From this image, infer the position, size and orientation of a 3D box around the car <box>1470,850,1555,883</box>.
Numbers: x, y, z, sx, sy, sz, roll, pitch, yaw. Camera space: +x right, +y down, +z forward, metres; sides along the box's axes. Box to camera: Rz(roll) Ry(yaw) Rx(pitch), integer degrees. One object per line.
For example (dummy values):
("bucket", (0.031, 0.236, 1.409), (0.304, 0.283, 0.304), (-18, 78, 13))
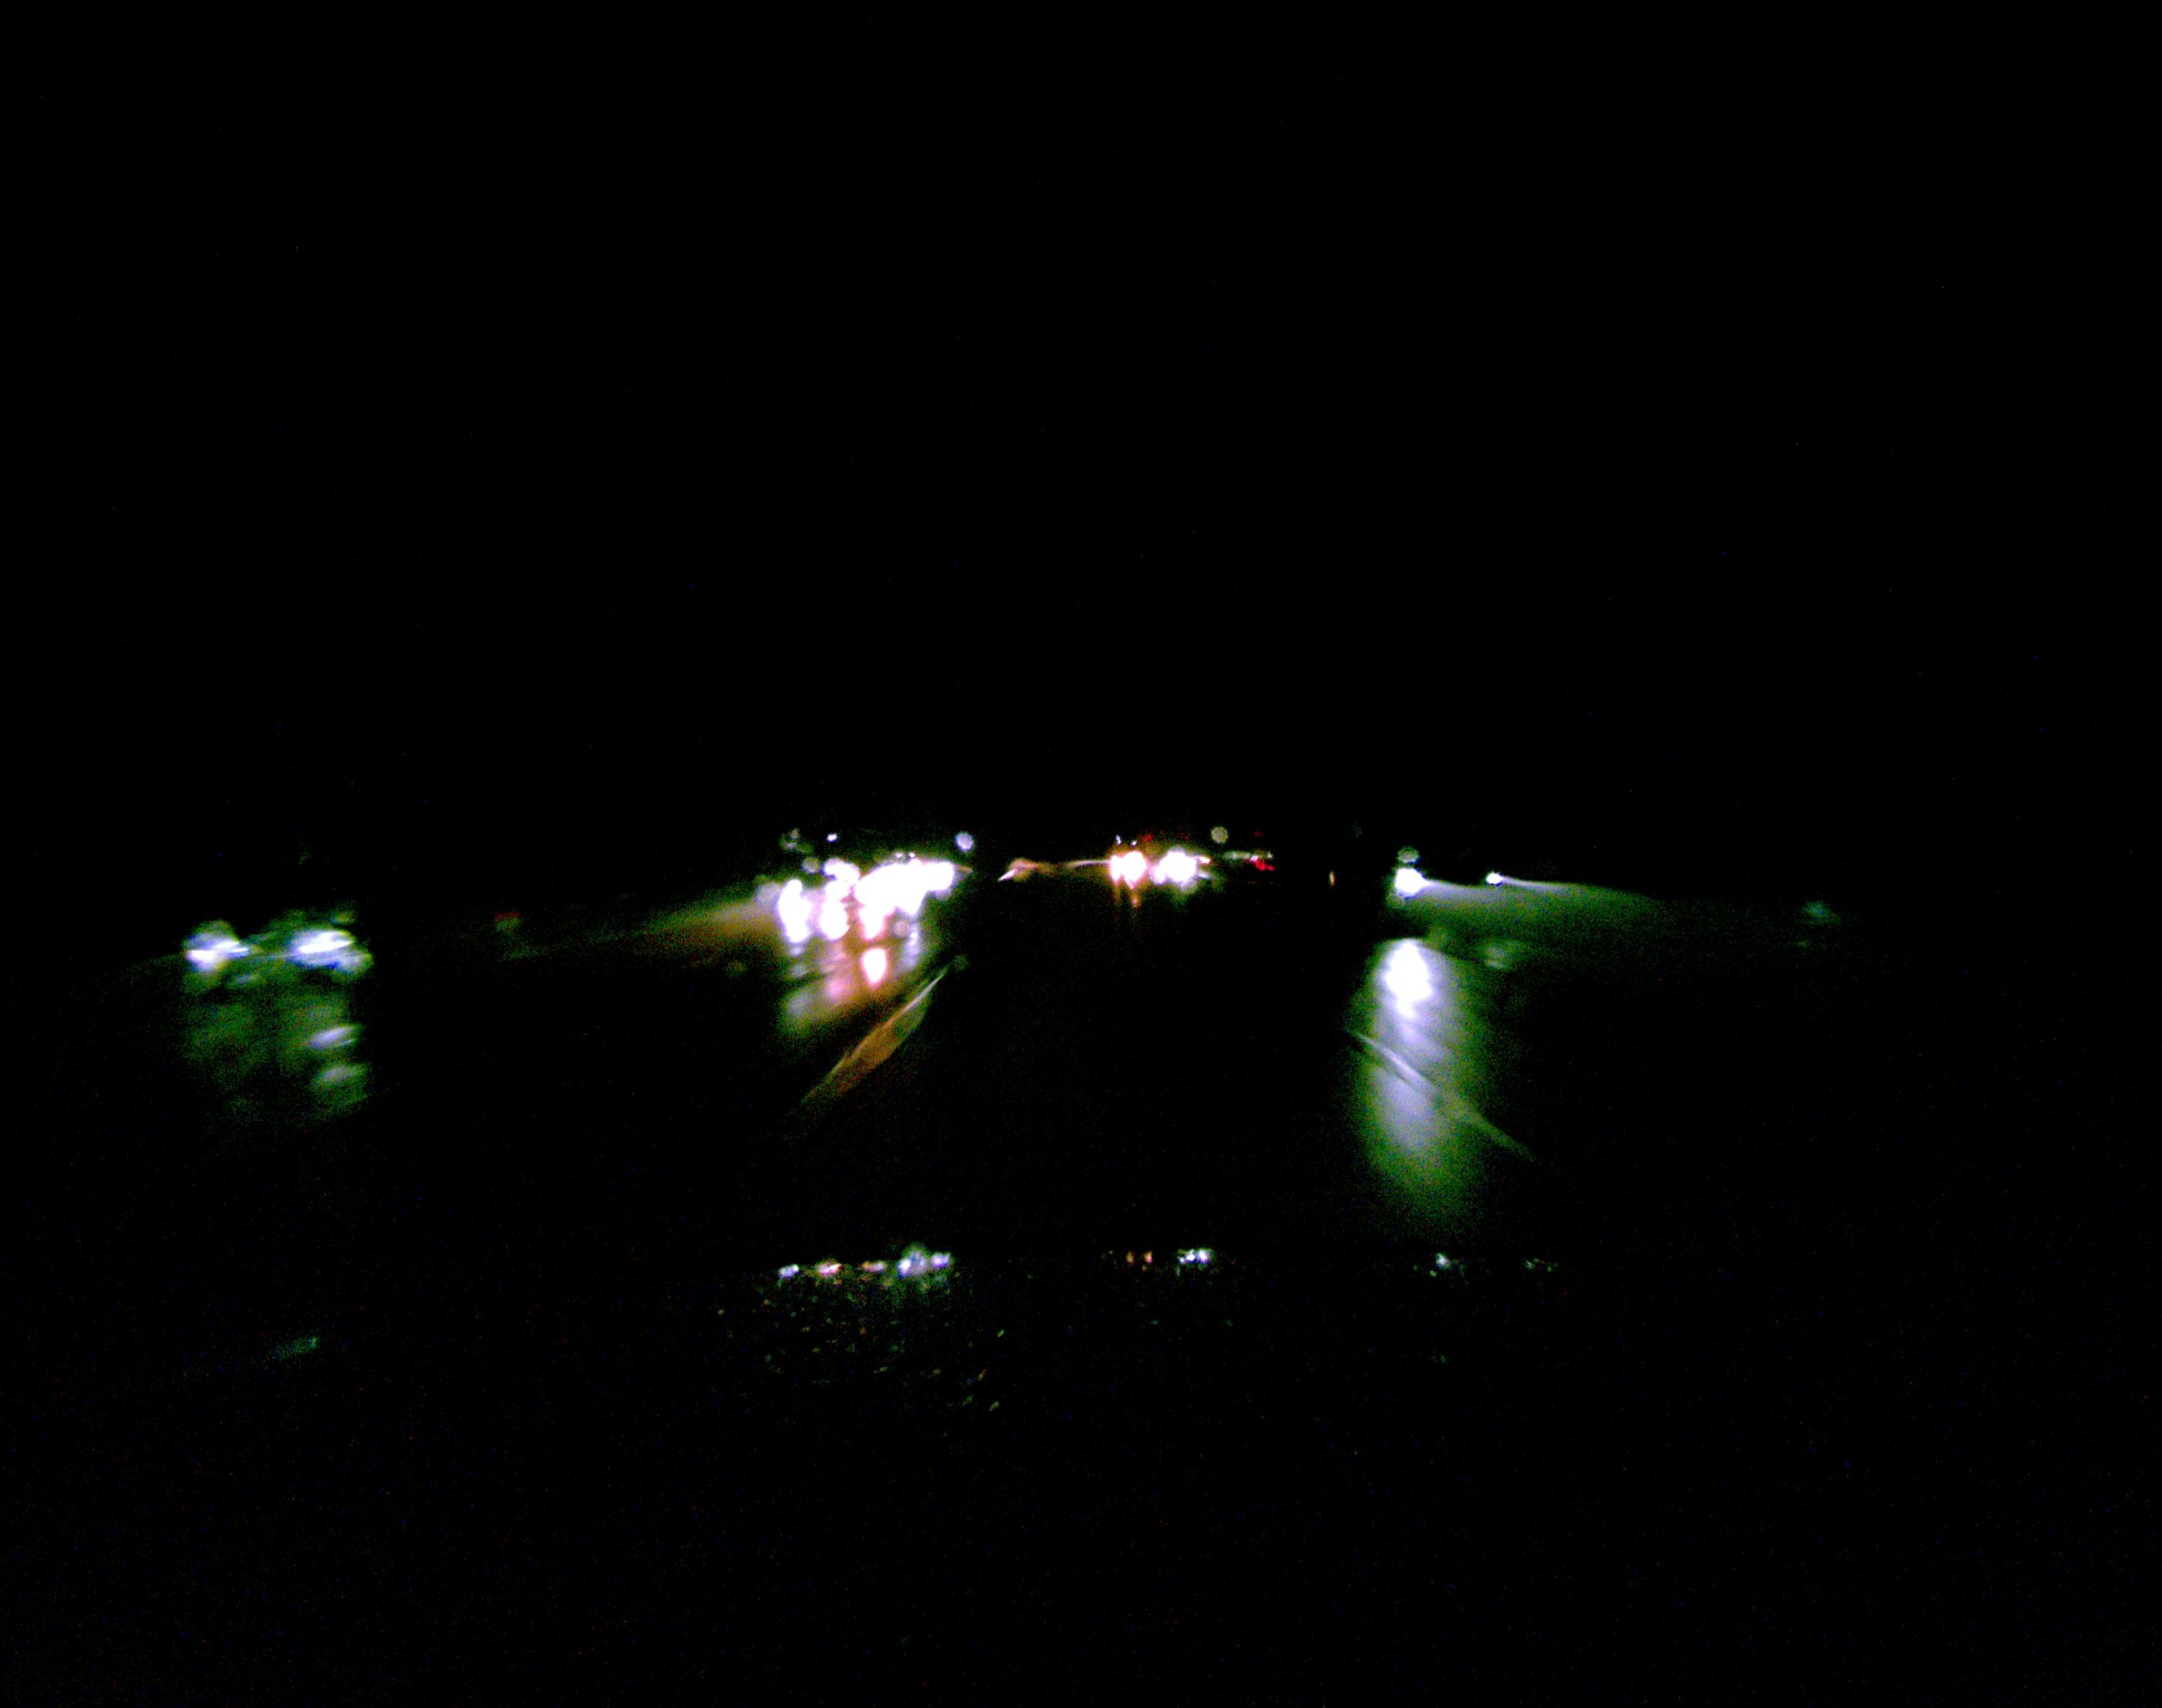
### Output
("car", (19.674, 0.526, 34.843), (1.671, 1.292, 3.999), (2, 1, 1))

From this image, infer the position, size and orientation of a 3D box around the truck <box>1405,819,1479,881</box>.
("truck", (25.754, -0.322, 54.529), (2.543, 4.132, 5.641), (2, 2, 1))

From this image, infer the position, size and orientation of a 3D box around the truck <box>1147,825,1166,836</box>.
("truck", (25.835, -8.012, 260.446), (2.419, 3.758, 11.213), (2, 2, -16))

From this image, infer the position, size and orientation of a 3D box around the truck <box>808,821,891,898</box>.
("truck", (-14.608, 0.099, 49.168), (2.767, 4.199, 13.813), (2, 1, -7))

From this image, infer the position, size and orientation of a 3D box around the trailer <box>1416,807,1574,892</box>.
("trailer", (25.603, -0.399, 48.327), (2.555, 4.518, 13.915), (2, 1, 1))

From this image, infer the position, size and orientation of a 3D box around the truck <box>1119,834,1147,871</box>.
("truck", (6.697, -0.294, 96.781), (2.501, 4.224, 13.648), (2, 1, 7))

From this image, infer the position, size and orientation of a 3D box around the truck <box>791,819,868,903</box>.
("truck", (-13.696, 0.301, 41.918), (2.767, 4.199, 6.188), (2, 2, -7))

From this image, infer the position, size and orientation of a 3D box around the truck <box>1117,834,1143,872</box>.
("truck", (5.872, -0.149, 90.072), (2.502, 4.224, 5.984), (2, 2, 8))

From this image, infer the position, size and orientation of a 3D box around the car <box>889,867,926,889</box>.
("car", (-10.743, 1.475, 47.180), (1.712, 1.286, 3.990), (2, -1, -6))

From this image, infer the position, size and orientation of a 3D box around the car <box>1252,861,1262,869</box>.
("car", (37.754, 2.293, 163.052), (1.775, 1.622, 4.002), (2, 0, 7))

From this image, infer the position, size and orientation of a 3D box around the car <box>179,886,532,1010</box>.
("car", (-11.461, 1.368, 12.546), (1.794, 1.477, 4.327), (-1, 0, -3))

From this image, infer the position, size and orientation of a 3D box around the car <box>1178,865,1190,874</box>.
("car", (15.357, 2.373, 113.464), (1.710, 1.286, 3.994), (1, -1, 6))

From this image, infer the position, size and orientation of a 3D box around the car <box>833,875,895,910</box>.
("car", (-8.748, 1.514, 30.876), (1.712, 1.286, 3.990), (2, -1, -6))

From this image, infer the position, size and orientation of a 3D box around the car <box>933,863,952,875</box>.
("car", (-15.373, 1.650, 84.350), (1.712, 1.286, 3.989), (2, -1, -6))

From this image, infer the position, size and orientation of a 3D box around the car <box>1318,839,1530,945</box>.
("car", (7.195, 0.644, 16.798), (2.142, 1.874, 5.554), (2, 1, 1))
